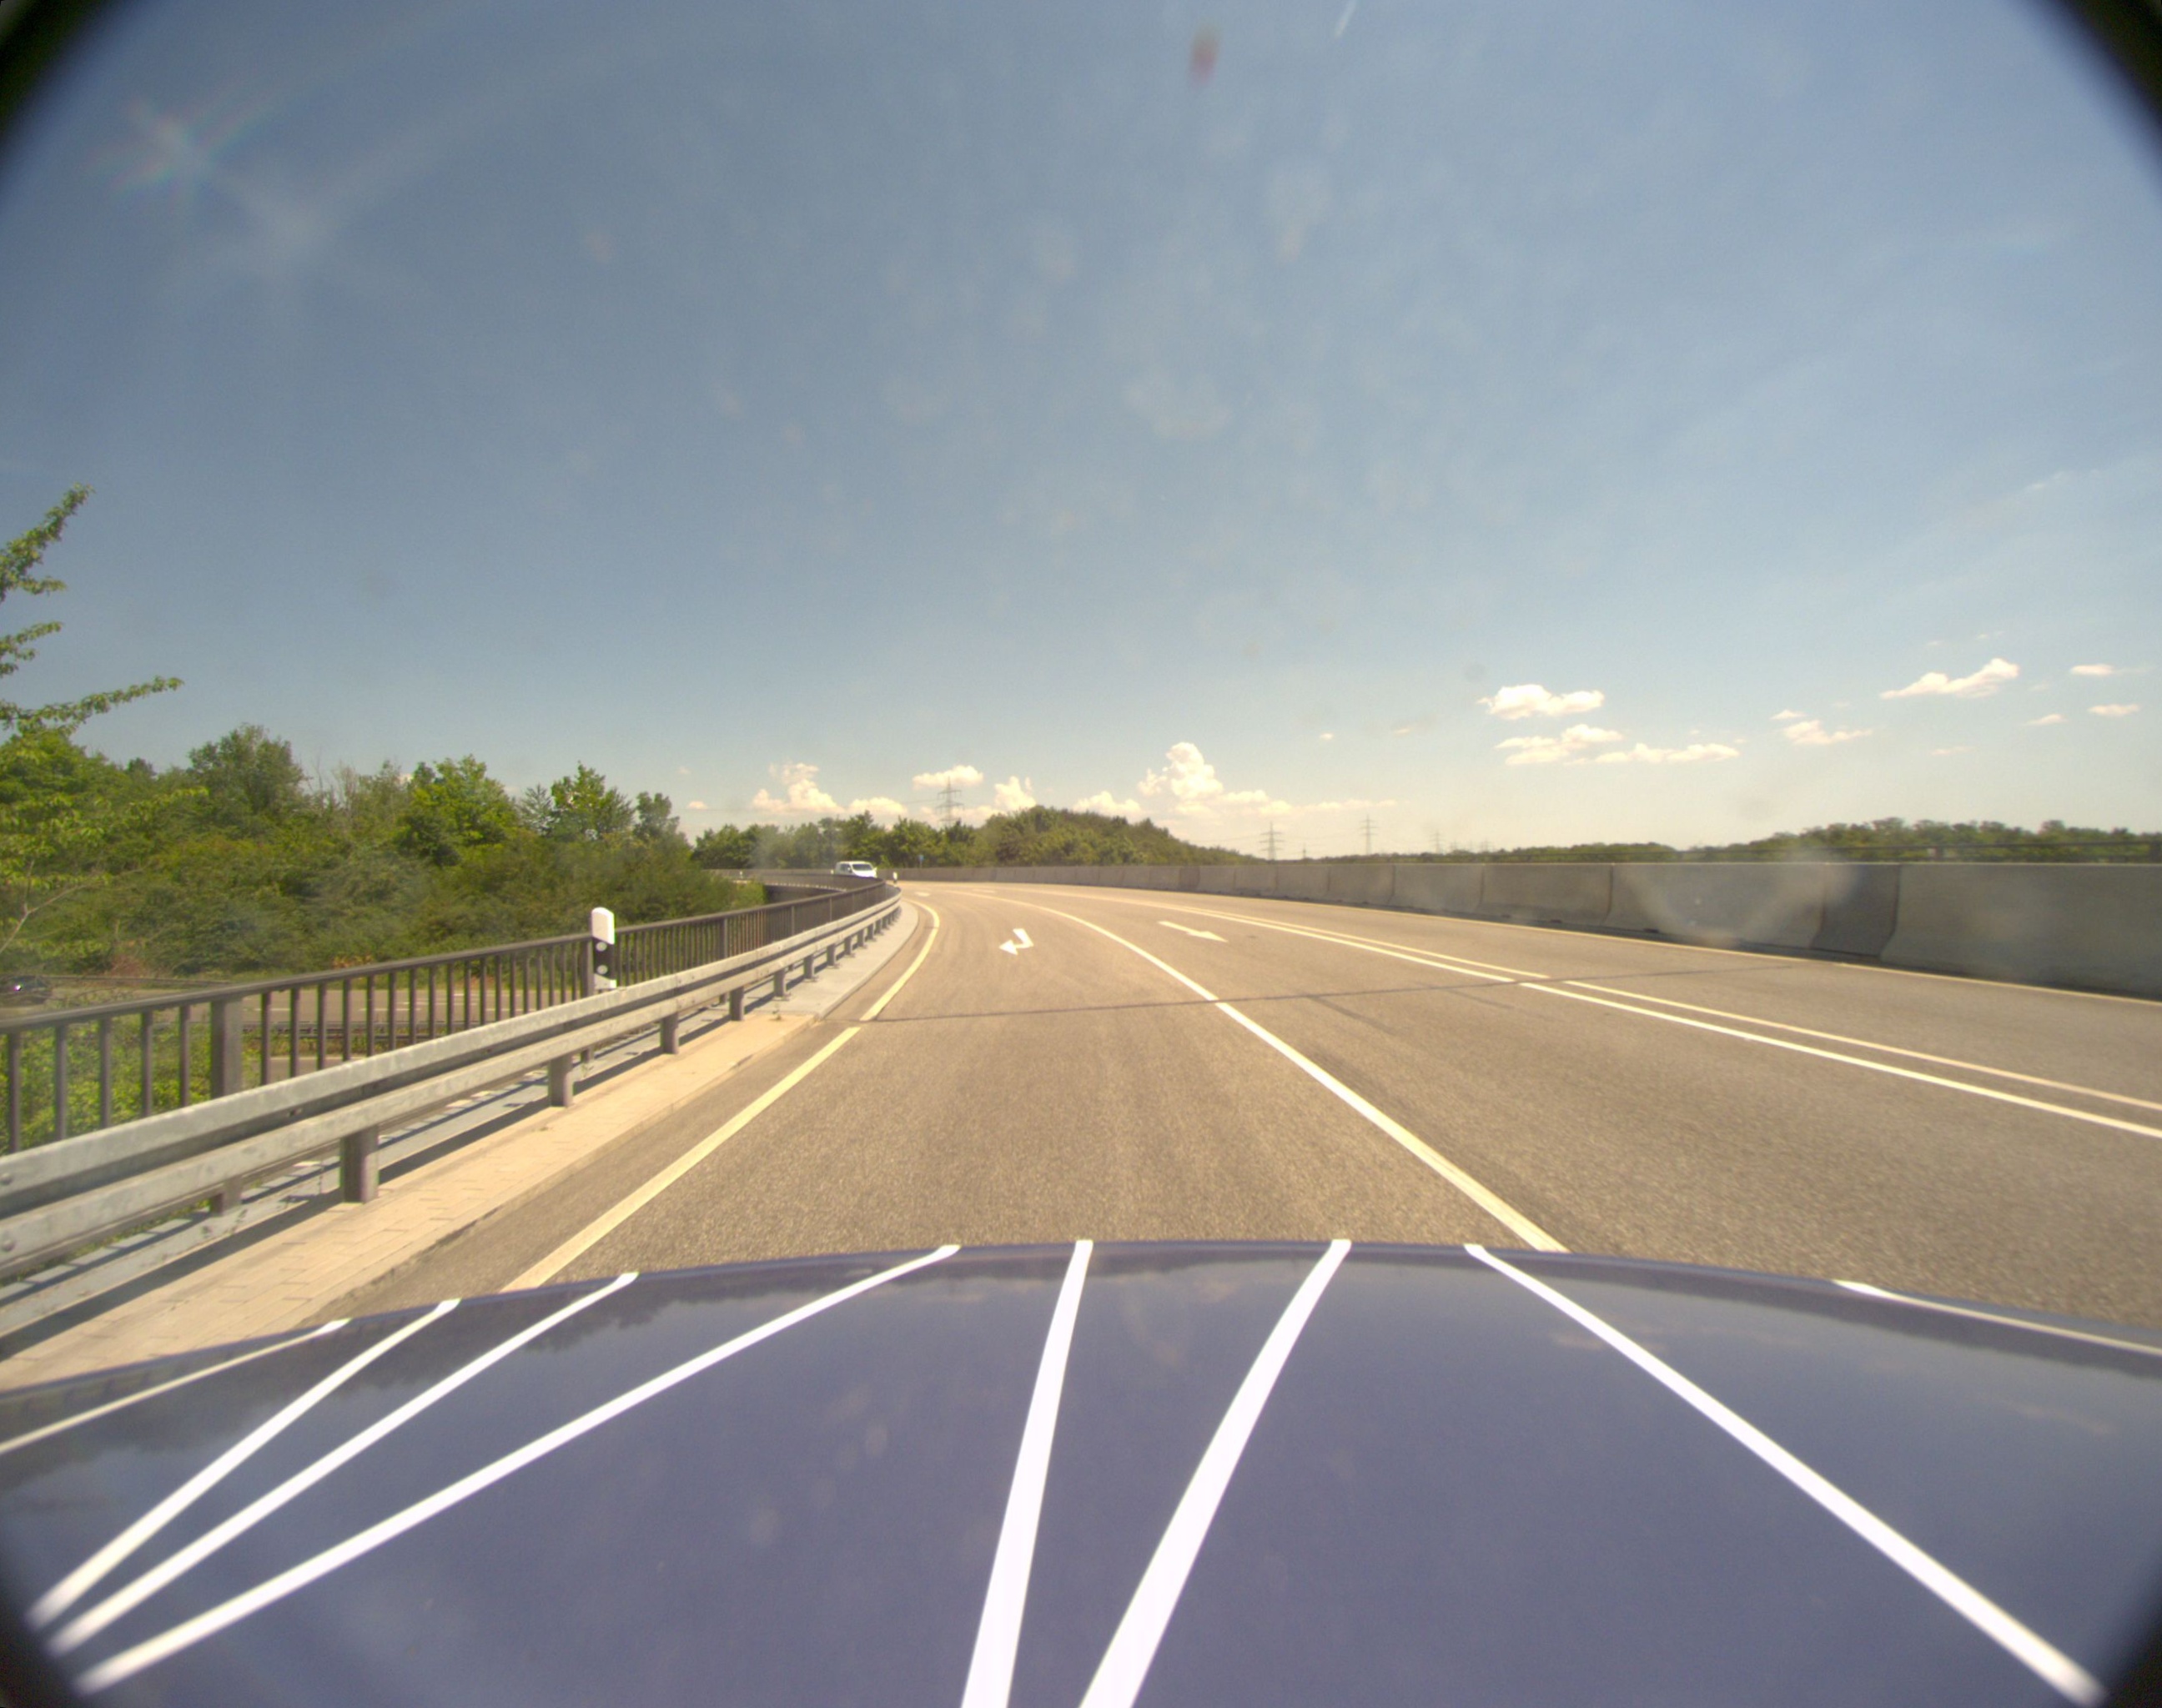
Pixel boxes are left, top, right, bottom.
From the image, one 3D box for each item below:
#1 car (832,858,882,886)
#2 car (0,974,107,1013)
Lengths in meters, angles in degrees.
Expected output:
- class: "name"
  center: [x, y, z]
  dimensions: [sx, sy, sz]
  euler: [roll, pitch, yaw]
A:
- class: "car"
  center: [-17.690, 1.377, 59.845]
  dimensions: [2.035, 2.072, 5.857]
  euler: [-1, 0, -34]
- class: "car"
  center: [-53.769, 7.182, 39.240]
  dimensions: [3.999, 1.607, 1.999]
  euler: [0, 0, -6]
